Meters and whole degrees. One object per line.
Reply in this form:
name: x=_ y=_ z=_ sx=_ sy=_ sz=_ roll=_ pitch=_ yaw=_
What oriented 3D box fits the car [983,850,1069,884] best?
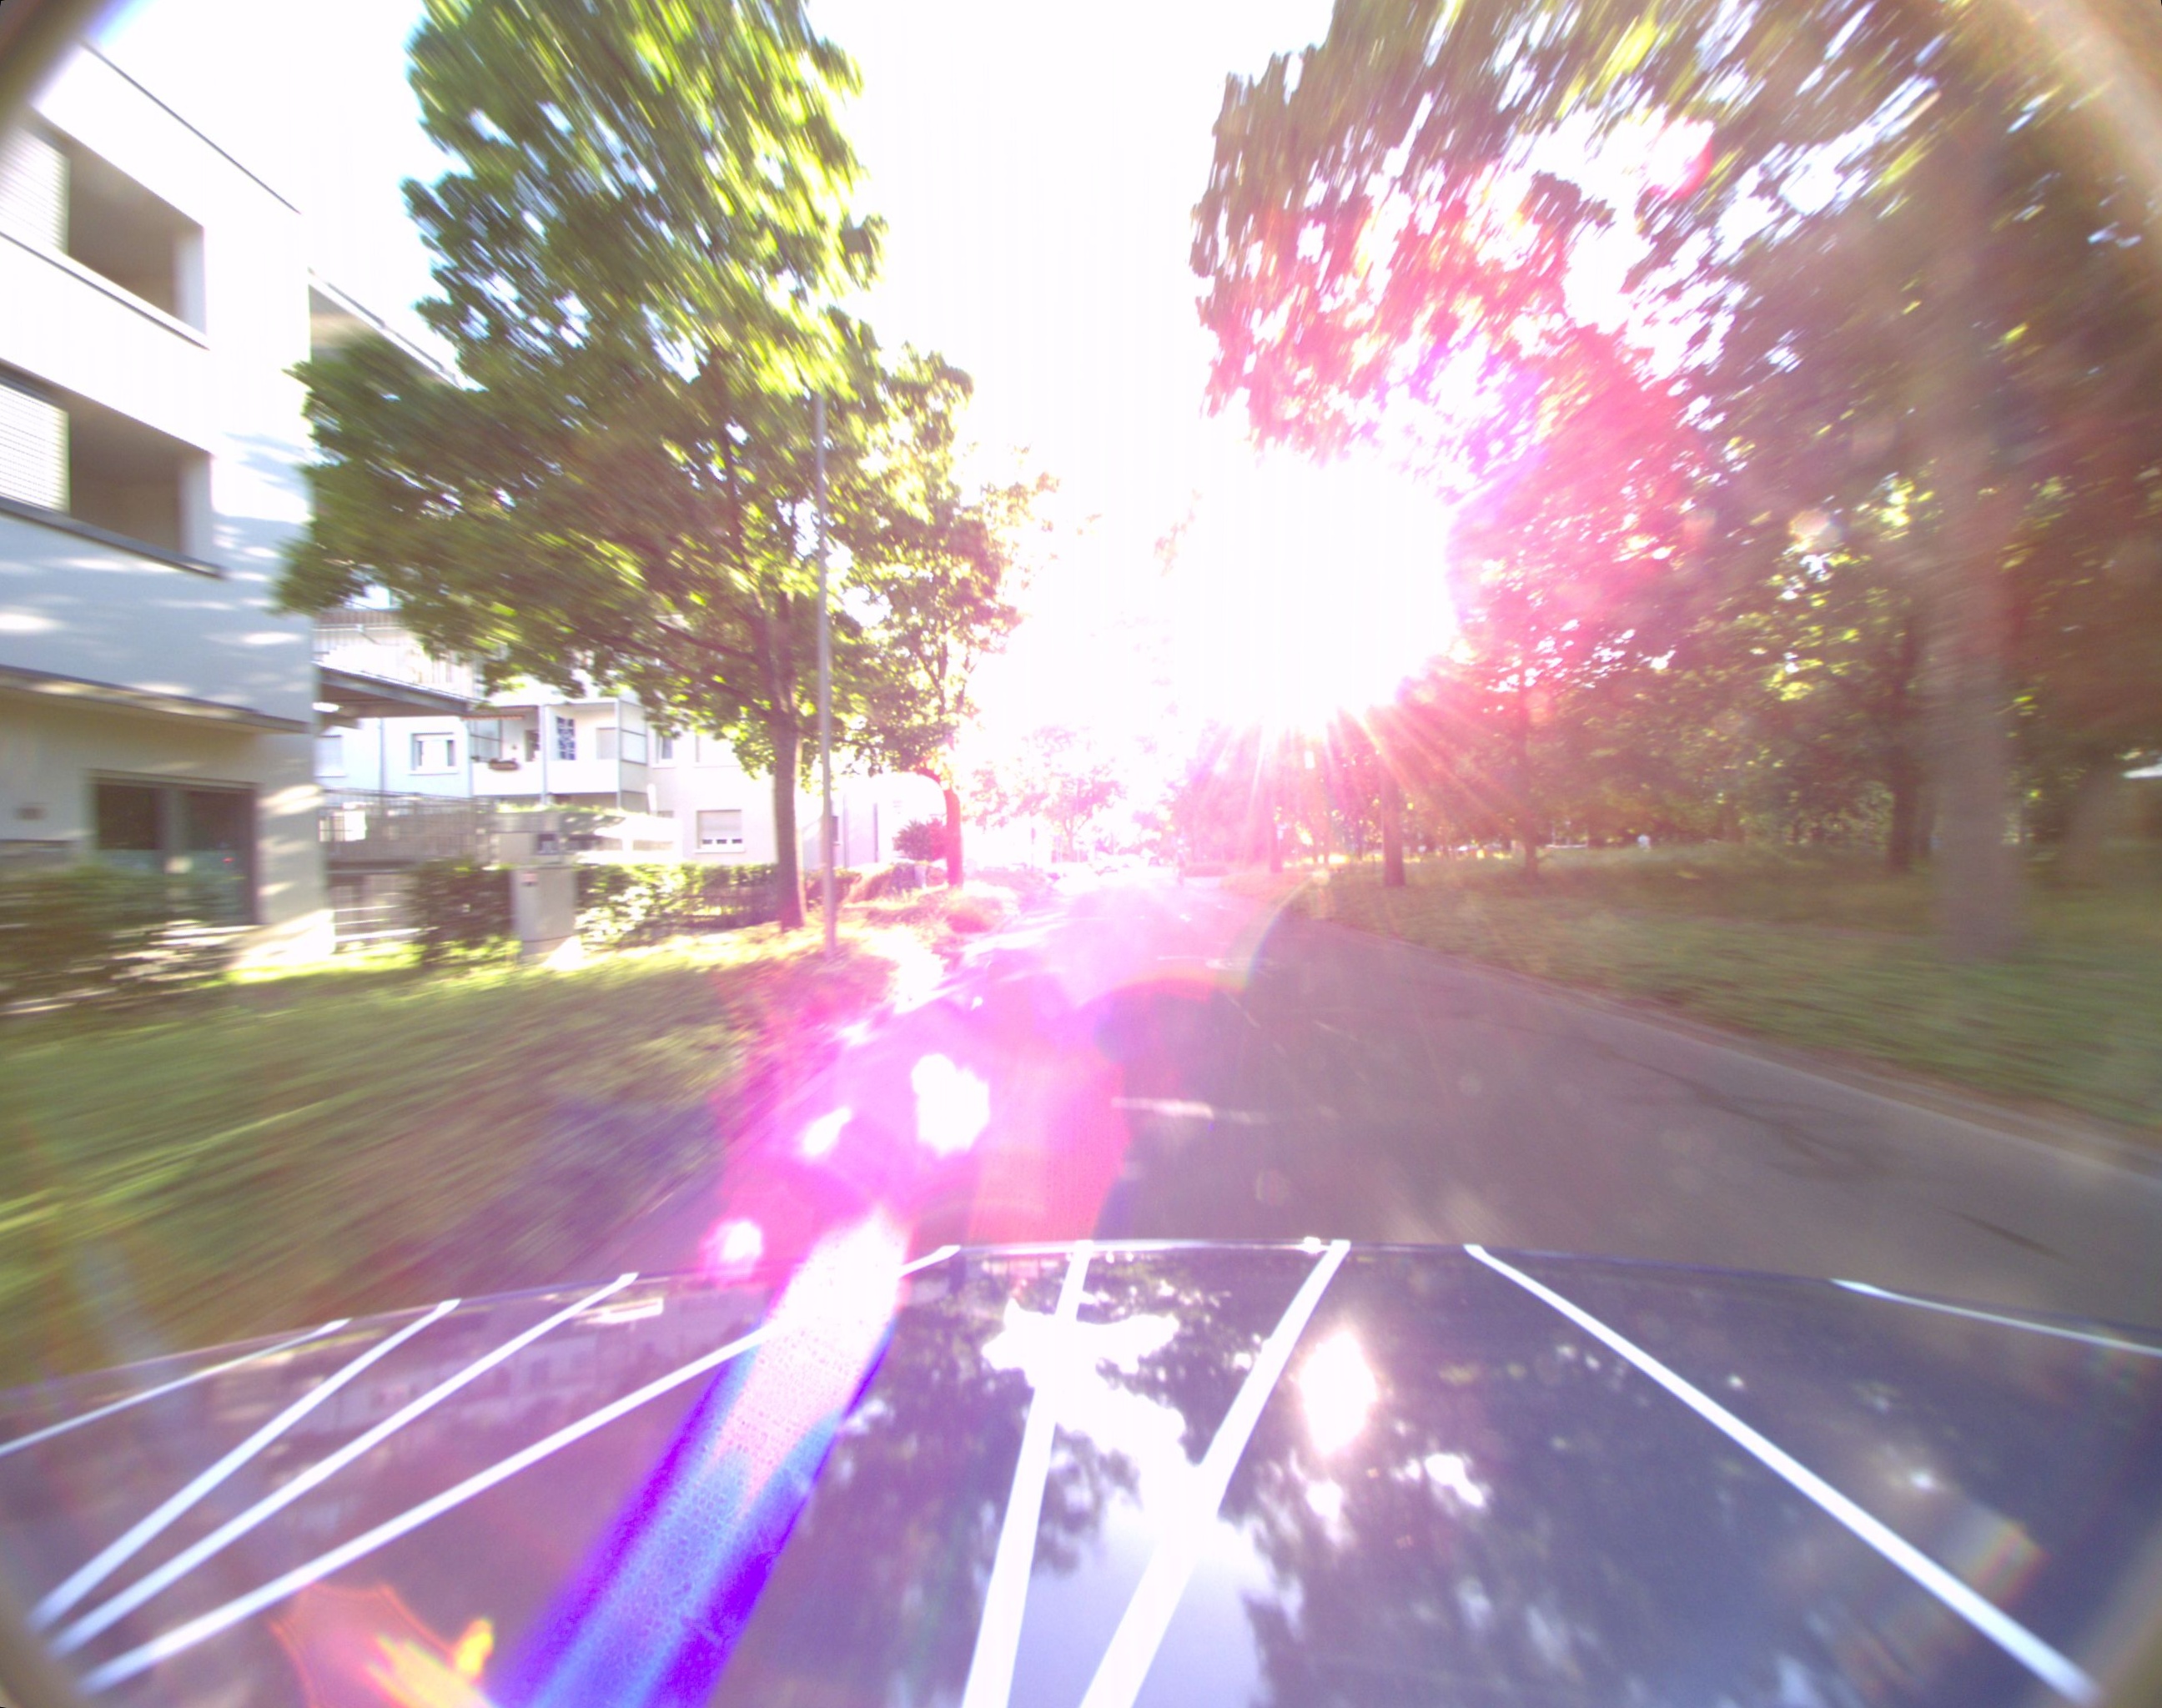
car: x=-3.007 y=0.712 z=41.801 sx=4.270 sy=1.664 sz=1.771 roll=-3 pitch=0 yaw=20

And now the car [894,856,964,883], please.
car: x=-9.659 y=1.000 z=48.563 sx=4.050 sy=1.506 sz=1.726 roll=-2 pitch=2 yaw=2

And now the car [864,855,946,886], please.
car: x=-9.460 y=0.874 z=41.073 sx=3.997 sy=1.572 sz=1.810 roll=-1 pitch=-1 yaw=1

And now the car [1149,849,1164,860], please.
car: x=10.847 y=0.042 z=108.587 sx=1.847 sy=1.569 sz=4.338 roll=0 pitch=0 yaw=9

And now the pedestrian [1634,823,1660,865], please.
pedestrian: x=27.612 y=-0.471 z=37.061 sx=0.758 sy=2.002 sz=0.590 roll=-2 pitch=1 yaw=5

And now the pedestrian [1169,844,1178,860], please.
pedestrian: x=10.637 y=-0.221 z=87.507 sx=0.905 sy=1.810 sz=0.721 roll=-2 pitch=0 yaw=3

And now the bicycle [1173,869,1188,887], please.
bicycle: x=4.516 y=1.088 z=34.561 sx=0.640 sy=0.737 sz=2.127 roll=0 pitch=0 yaw=6

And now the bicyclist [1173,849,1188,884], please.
bicyclist: x=4.520 y=0.548 z=34.533 sx=0.634 sy=1.546 sz=1.003 roll=0 pitch=1 yaw=5

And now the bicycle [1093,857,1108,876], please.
bicycle: x=1.316 y=0.840 z=51.891 sx=0.829 sy=1.182 sz=2.303 roll=-3 pitch=0 yaw=5

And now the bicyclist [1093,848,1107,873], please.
bicyclist: x=1.291 y=0.419 z=51.826 sx=0.819 sy=1.635 sz=0.745 roll=-3 pitch=1 yaw=5
